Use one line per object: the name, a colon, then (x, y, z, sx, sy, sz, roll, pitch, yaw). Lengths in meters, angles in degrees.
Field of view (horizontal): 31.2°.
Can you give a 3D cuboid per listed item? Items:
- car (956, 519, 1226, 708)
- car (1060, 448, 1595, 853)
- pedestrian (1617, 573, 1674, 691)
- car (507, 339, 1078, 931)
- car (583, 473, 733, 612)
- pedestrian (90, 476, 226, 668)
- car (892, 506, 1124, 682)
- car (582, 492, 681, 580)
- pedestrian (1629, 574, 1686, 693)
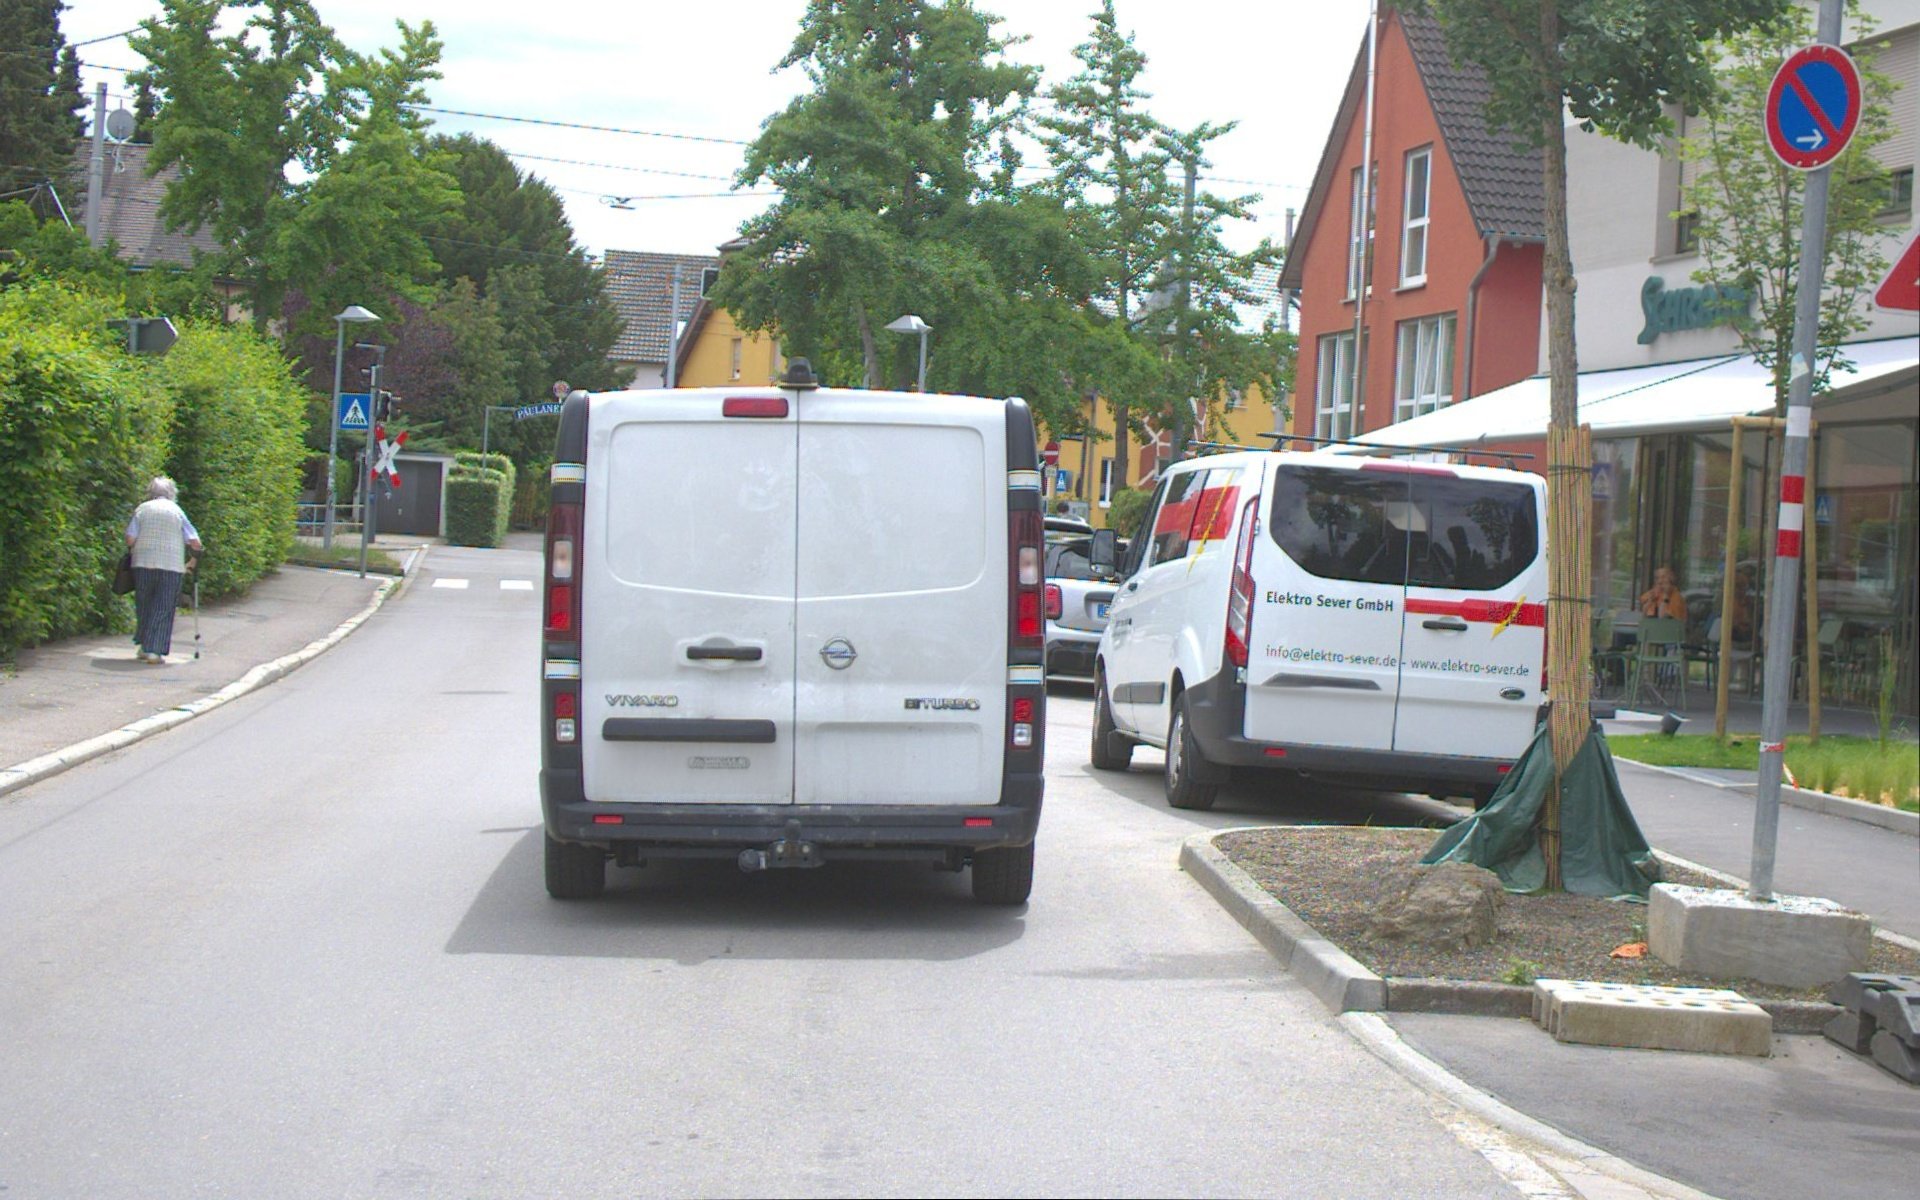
car: (1.138, 0.090, 31.645, 1.741, 1.489, 3.656, 5, 0, -8)
car: (1.952, 0.228, 19.965, 1.958, 1.909, 4.903, 5, 0, -6)
pedestrian: (6.961, 0.322, 34.908, 0.421, 1.178, 0.324, 3, 0, -7)
car: (-0.746, 0.111, 14.261, 1.915, 1.996, 4.438, 2, 0, -4)
car: (-4.362, -0.826, 49.665, 1.993, 1.842, 4.001, 2, 1, -5)
pedestrian: (-6.502, -0.228, 27.865, 0.876, 1.480, 0.455, 5, 0, -24)
car: (0.441, -0.111, 36.398, 1.702, 1.609, 4.260, 5, 1, -8)
car: (-7.019, -1.360, 73.606, 1.993, 1.776, 4.001, 2, 1, -5)
pedestrian: (7.014, 0.333, 34.553, 0.421, 1.161, 0.324, 3, 0, -7)
